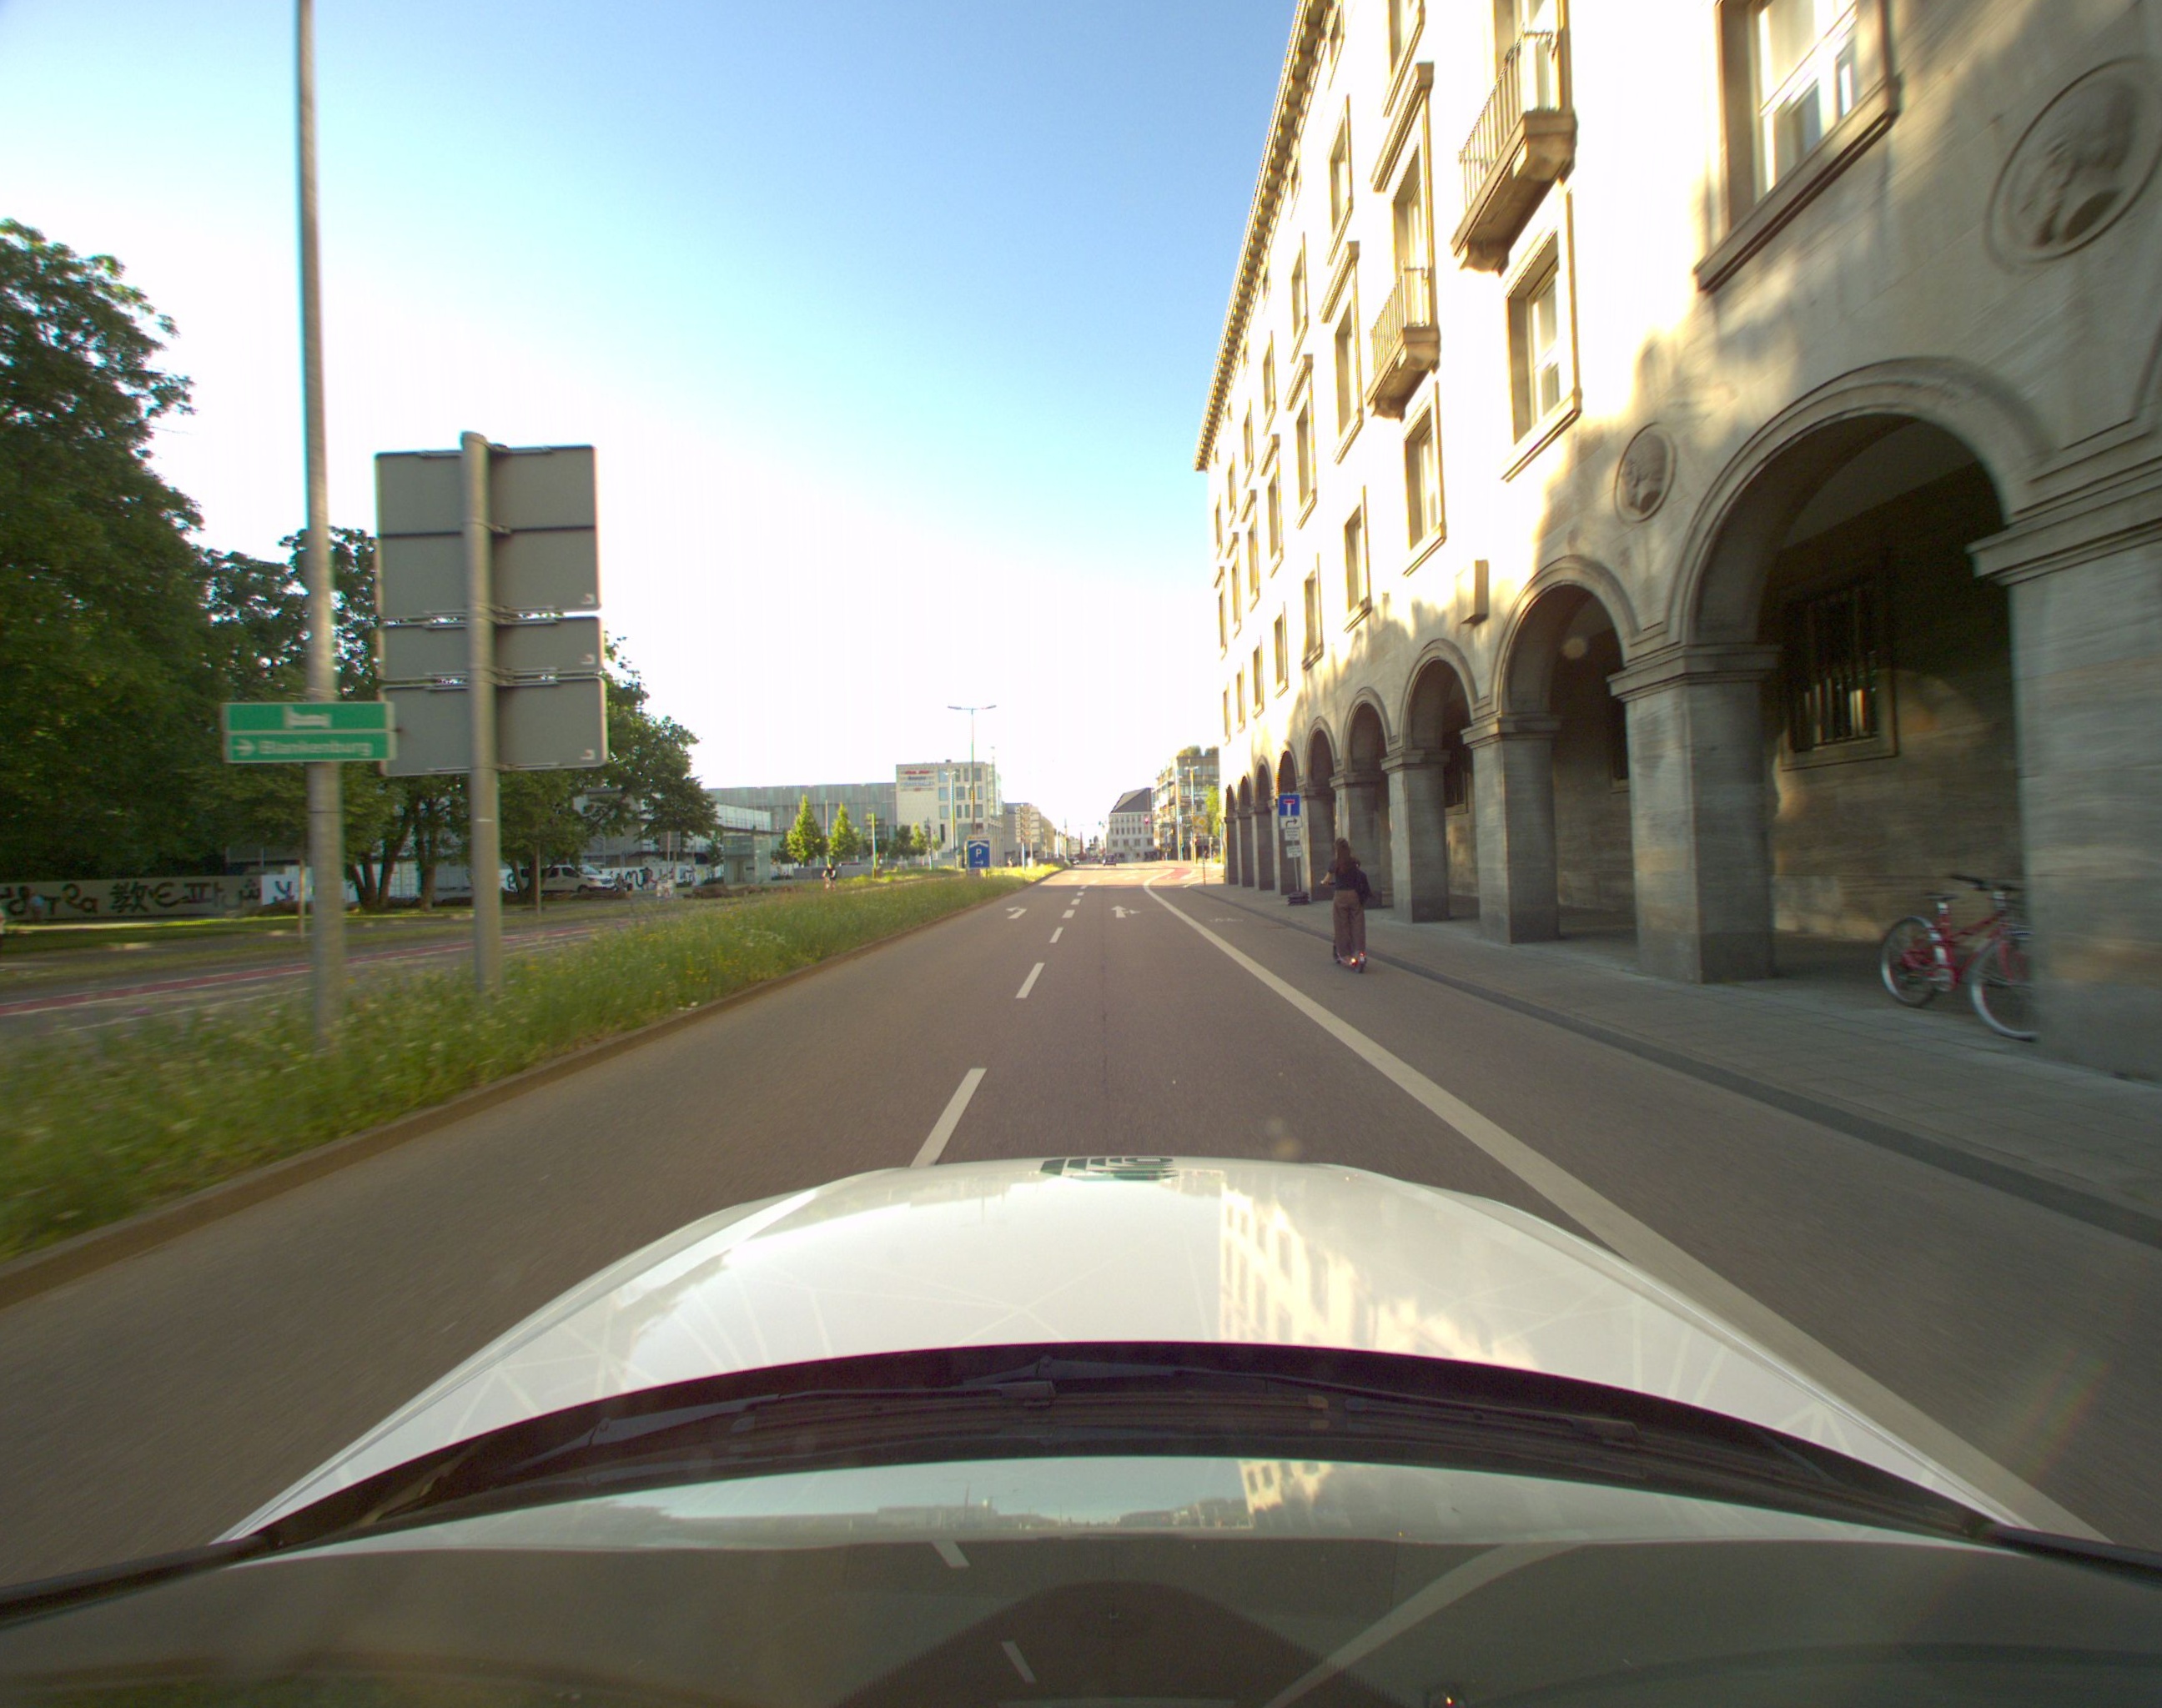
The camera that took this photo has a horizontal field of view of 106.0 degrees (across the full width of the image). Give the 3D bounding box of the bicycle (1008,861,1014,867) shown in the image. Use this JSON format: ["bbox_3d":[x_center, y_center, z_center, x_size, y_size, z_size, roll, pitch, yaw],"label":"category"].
[{"bbox_3d":[-10.857,1.607,126.547,0.608,0.861,1.955,-2,0,7],"label":"bicycle"}]

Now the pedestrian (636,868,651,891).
[{"bbox_3d":[-33.549,1.937,62.440,0.577,1.688,0.835,-2,0,0],"label":"pedestrian"}]

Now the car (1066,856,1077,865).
[{"bbox_3d":[-1.895,1.265,168.795,1.986,1.742,4.648,-2,1,2],"label":"car"}]

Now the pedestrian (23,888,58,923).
[{"bbox_3d":[-50.903,2.494,39.836,0.720,1.641,0.746,-2,0,7],"label":"pedestrian"}]

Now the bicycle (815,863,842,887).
[{"bbox_3d":[-14.261,1.204,46.059,0.755,1.275,2.259,-3,-2,2],"label":"bicycle"}]

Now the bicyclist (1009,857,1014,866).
[{"bbox_3d":[-10.866,1.167,126.555,0.604,1.489,0.682,-2,0,7],"label":"bicyclist"}]

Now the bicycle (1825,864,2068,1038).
[{"bbox_3d":[6.288,0.638,6.042,0.466,1.050,1.722,-4,0,20],"label":"bicycle"}]

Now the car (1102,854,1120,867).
[{"bbox_3d":[3.747,0.882,103.825,1.773,1.564,3.782,-2,0,-6],"label":"car"}]

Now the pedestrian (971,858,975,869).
[{"bbox_3d":[-20.934,1.820,157.650,0.622,2.013,0.515,-2,0,-7],"label":"pedestrian"}]

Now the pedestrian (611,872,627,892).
[{"bbox_3d":[-32.507,1.968,57.263,0.577,1.378,0.835,-2,0,0],"label":"pedestrian"}]

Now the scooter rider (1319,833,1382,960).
[{"bbox_3d":[3.585,0.552,10.866,0.559,1.632,0.650,-2,-1,-1],"label":"scooter rider"}]

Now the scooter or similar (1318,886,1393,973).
[{"bbox_3d":[3.600,0.969,10.761,0.554,1.031,1.116,-2,0,-2],"label":"scooter or similar"}]

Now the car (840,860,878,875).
[{"bbox_3d":[-30.669,1.809,112.623,4.634,1.810,1.868,-3,-2,-6],"label":"car"}]

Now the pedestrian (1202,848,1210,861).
[{"bbox_3d":[17.520,0.083,113.918,0.814,1.748,1.047,-3,-1,23],"label":"pedestrian"}]

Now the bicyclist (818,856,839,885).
[{"bbox_3d":[-14.272,0.964,46.092,0.744,1.590,1.202,-3,-2,2],"label":"bicyclist"}]

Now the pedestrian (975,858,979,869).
[{"bbox_3d":[-19.965,1.846,156.726,0.622,2.013,0.515,-2,0,-7],"label":"pedestrian"}]

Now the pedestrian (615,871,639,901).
[{"bbox_3d":[-24.116,1.687,43.241,0.609,1.527,0.944,-2,0,7],"label":"pedestrian"}]

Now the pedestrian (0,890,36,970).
[{"bbox_3d":[-22.887,1.614,17.174,0.739,1.641,0.727,-2,0,5],"label":"pedestrian"}]

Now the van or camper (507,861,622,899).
[{"bbox_3d":[-31.827,1.613,50.263,5.640,2.014,2.259,-3,-2,2],"label":"van or camper"}]
